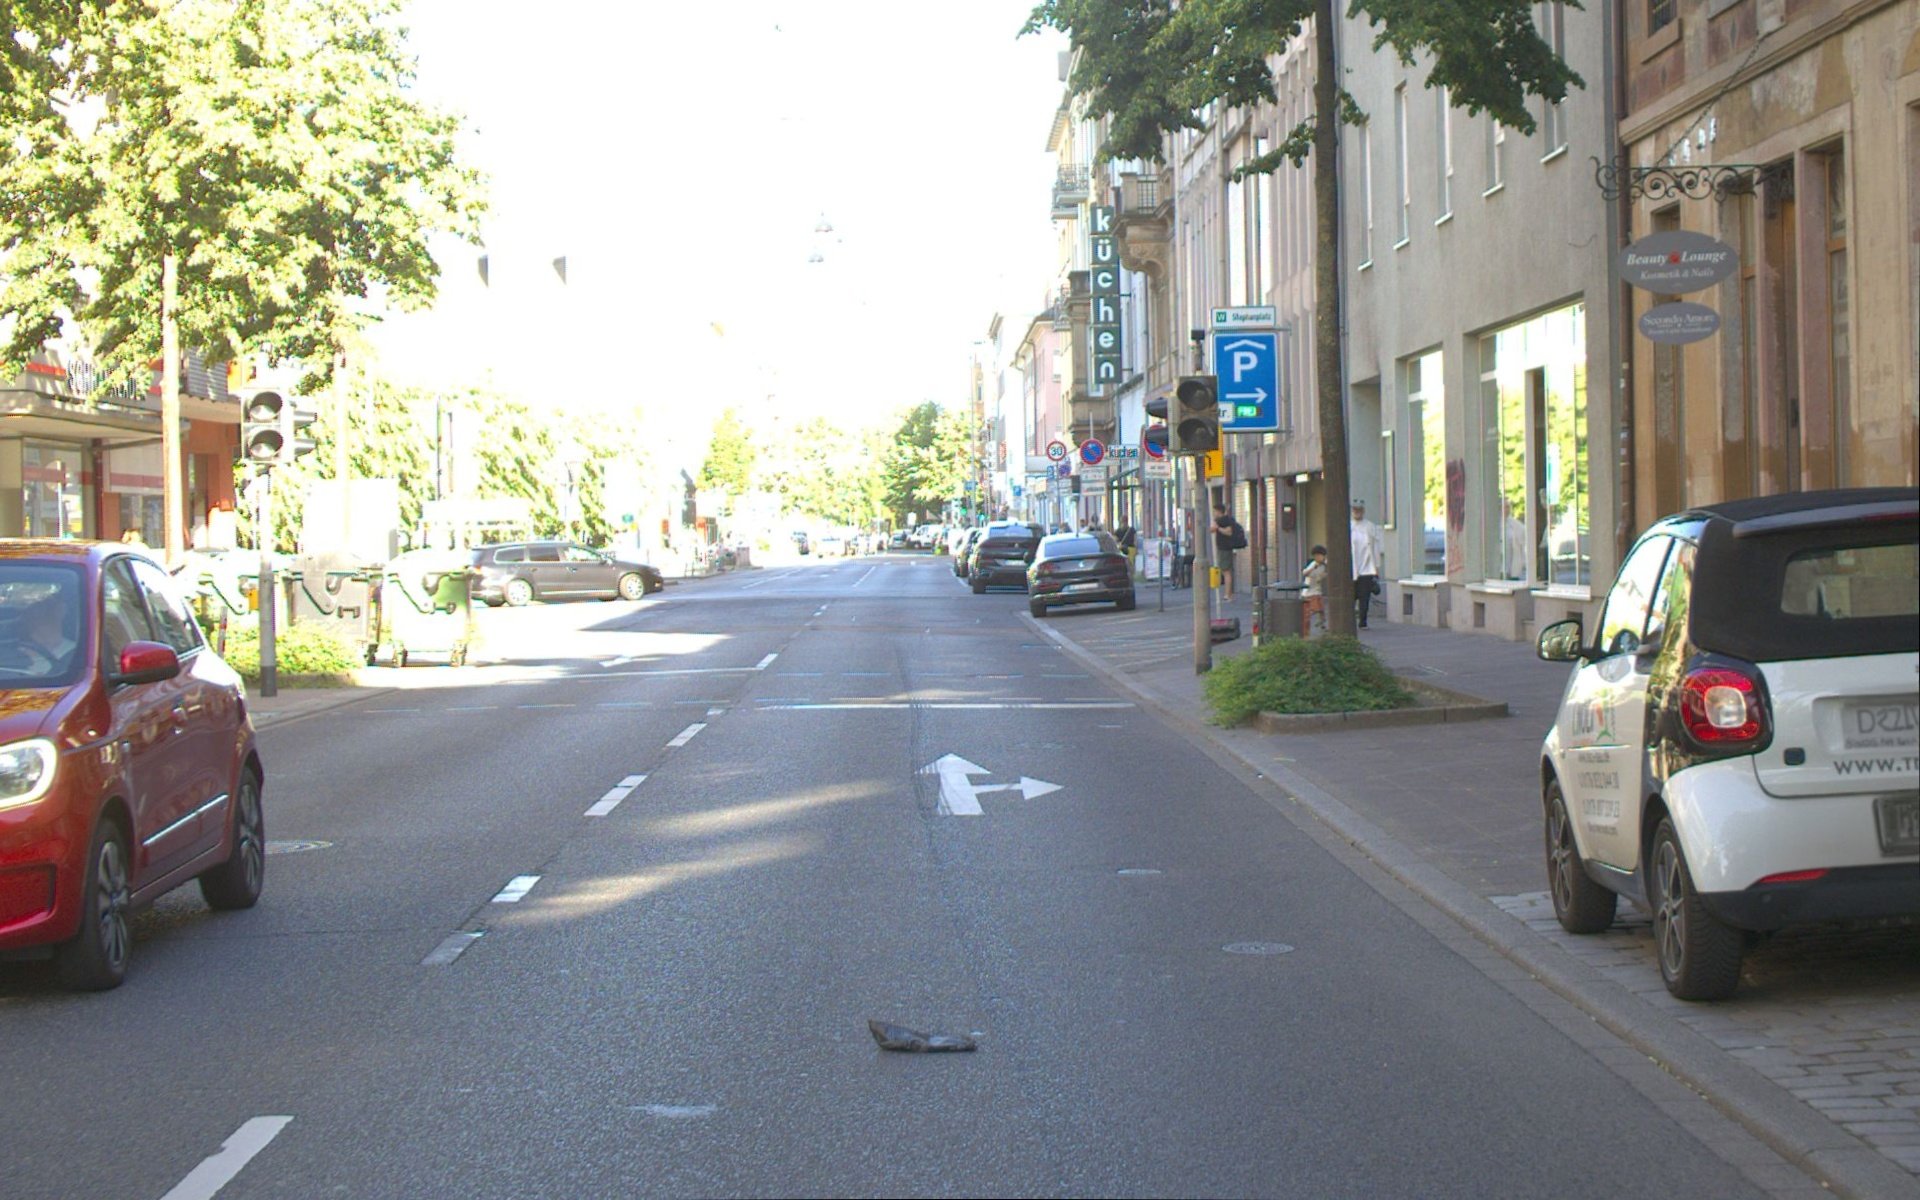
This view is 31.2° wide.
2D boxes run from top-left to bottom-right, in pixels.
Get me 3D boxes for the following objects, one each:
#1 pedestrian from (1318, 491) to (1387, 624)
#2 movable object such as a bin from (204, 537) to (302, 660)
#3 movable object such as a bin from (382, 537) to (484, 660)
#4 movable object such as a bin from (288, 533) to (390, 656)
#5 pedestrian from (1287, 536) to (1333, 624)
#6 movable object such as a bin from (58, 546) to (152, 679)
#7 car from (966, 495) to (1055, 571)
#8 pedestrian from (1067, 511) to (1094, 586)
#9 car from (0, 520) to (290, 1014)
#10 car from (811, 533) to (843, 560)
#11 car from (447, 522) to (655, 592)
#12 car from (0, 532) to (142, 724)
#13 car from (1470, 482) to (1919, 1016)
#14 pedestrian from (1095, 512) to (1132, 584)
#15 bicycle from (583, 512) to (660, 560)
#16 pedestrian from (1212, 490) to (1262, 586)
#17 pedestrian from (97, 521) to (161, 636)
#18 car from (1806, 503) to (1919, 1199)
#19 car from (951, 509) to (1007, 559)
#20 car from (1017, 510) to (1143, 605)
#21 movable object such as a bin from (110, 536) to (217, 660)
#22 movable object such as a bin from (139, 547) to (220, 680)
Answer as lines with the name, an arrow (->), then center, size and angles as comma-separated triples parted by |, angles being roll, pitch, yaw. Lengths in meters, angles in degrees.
pedestrian -> 4.736, -0.519, 41.514 | 0.580, 1.554, 1.021 | -4, 1, -2
movable object such as a bin -> -8.690, -0.024, 42.286 | 0.964, 1.466, 1.143 | -1, 1, -2
movable object such as a bin -> -6.499, -0.032, 42.452 | 1.042, 1.466, 1.453 | -1, 1, -2
movable object such as a bin -> -7.648, -0.079, 42.359 | 1.042, 1.466, 1.143 | -1, 1, -2
pedestrian -> 4.229, -0.243, 41.586 | 0.393, 1.030, 0.740 | -4, 1, -2
movable object such as a bin -> -8.883, 0.124, 35.730 | 0.754, 1.336, 0.805 | -1, 1, -2
car -> 1.159, -1.611, 81.166 | 1.973, 1.719, 4.824 | 0, 2, -1
pedestrian -> 2.850, -1.232, 81.381 | 0.620, 1.760, 0.518 | -1, 1, 2
car -> -3.670, 0.511, 12.616 | 1.658, 1.529, 3.761 | -3, 1, -1
car -> -8.990, -3.607, 232.711 | 1.993, 1.765, 4.000 | 0, 2, 1
car -> -9.121, -0.971, 76.856 | 4.259, 1.482, 1.940 | -2, 2, -41
car -> -8.847, 0.208, 27.424 | 4.203, 1.463, 1.740 | 0, 1, 2
car -> 2.841, 0.388, 11.655 | 1.613, 1.523, 3.061 | -3, 1, -2
pedestrian -> 3.626, -1.230, 81.332 | 0.801, 1.669, 0.589 | -3, 1, 2
bicycle -> -14.368, -2.709, 145.910 | 3.122, 2.007, 0.908 | 0, 1, 9
pedestrian -> 4.830, -1.086, 60.014 | 0.691, 1.630, 0.889 | -3, 1, -1
pedestrian -> -12.138, -0.322, 50.253 | 0.665, 1.653, 1.037 | -1, 1, -1
car -> 2.903, 0.543, 5.966 | 1.614, 1.523, 4.235 | -4, 1, -2
car -> 0.626, -2.238, 117.030 | 1.716, 1.630, 4.085 | 0, 0, -2
car -> 2.108, -0.797, 61.687 | 1.917, 1.473, 4.965 | -5, 2, 0
movable object such as a bin -> -9.781, -0.037, 42.265 | 1.042, 1.466, 1.143 | -1, 1, -2
movable object such as a bin -> -8.102, 0.133, 35.706 | 0.634, 1.336, 0.805 | -1, 1, -2
